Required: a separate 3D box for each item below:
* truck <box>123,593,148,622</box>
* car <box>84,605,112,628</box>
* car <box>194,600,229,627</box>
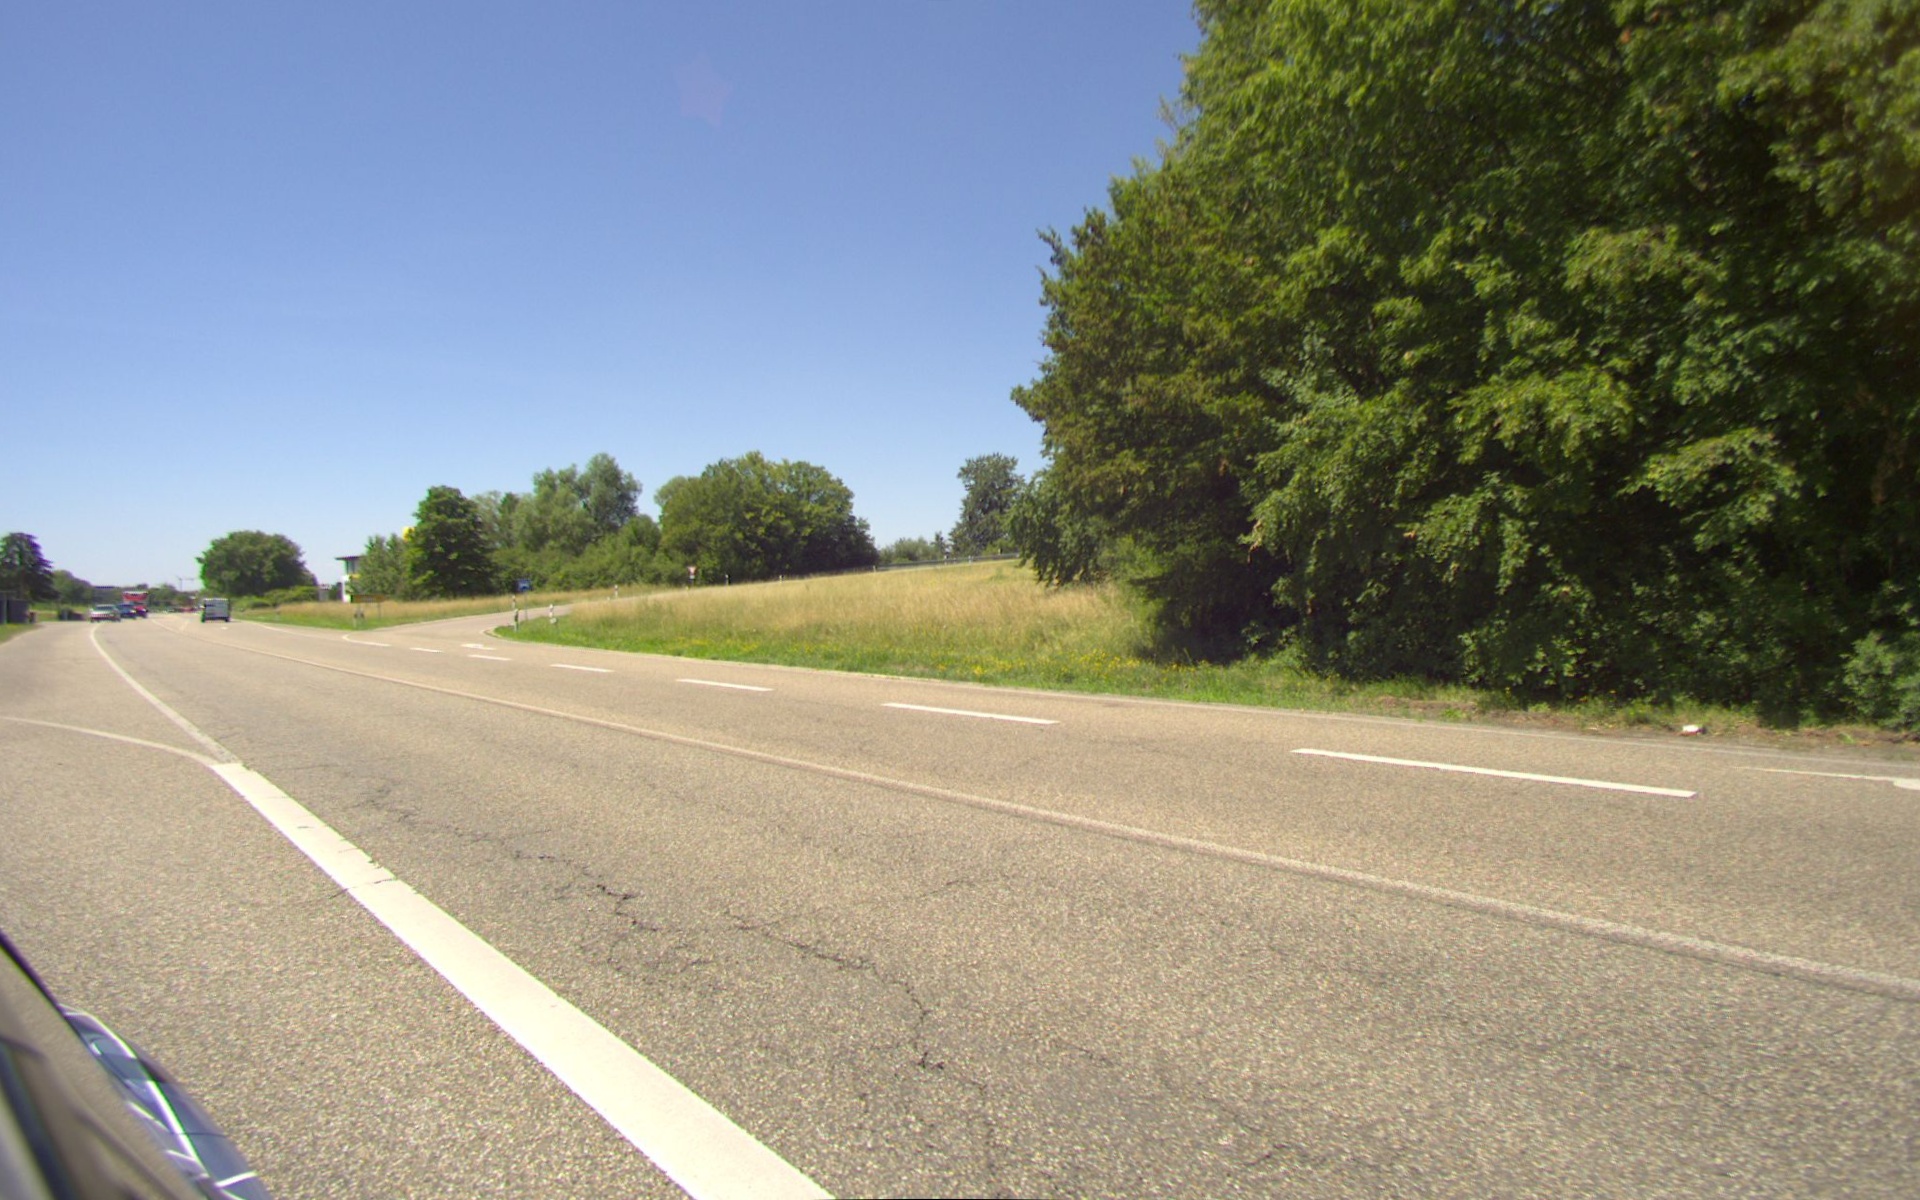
[{"bbox_3d":[-99.434,0.919,122.149,1.967,3.201,7.019,-2,-1,-37],"label":"truck"},{"bbox_3d":[-80.701,1.560,94.741,1.885,1.976,4.463,-2,-1,-40],"label":"car"},{"bbox_3d":[-61.988,1.127,83.754,1.885,1.976,5.401,-2,-1,-41],"label":"car"}]
